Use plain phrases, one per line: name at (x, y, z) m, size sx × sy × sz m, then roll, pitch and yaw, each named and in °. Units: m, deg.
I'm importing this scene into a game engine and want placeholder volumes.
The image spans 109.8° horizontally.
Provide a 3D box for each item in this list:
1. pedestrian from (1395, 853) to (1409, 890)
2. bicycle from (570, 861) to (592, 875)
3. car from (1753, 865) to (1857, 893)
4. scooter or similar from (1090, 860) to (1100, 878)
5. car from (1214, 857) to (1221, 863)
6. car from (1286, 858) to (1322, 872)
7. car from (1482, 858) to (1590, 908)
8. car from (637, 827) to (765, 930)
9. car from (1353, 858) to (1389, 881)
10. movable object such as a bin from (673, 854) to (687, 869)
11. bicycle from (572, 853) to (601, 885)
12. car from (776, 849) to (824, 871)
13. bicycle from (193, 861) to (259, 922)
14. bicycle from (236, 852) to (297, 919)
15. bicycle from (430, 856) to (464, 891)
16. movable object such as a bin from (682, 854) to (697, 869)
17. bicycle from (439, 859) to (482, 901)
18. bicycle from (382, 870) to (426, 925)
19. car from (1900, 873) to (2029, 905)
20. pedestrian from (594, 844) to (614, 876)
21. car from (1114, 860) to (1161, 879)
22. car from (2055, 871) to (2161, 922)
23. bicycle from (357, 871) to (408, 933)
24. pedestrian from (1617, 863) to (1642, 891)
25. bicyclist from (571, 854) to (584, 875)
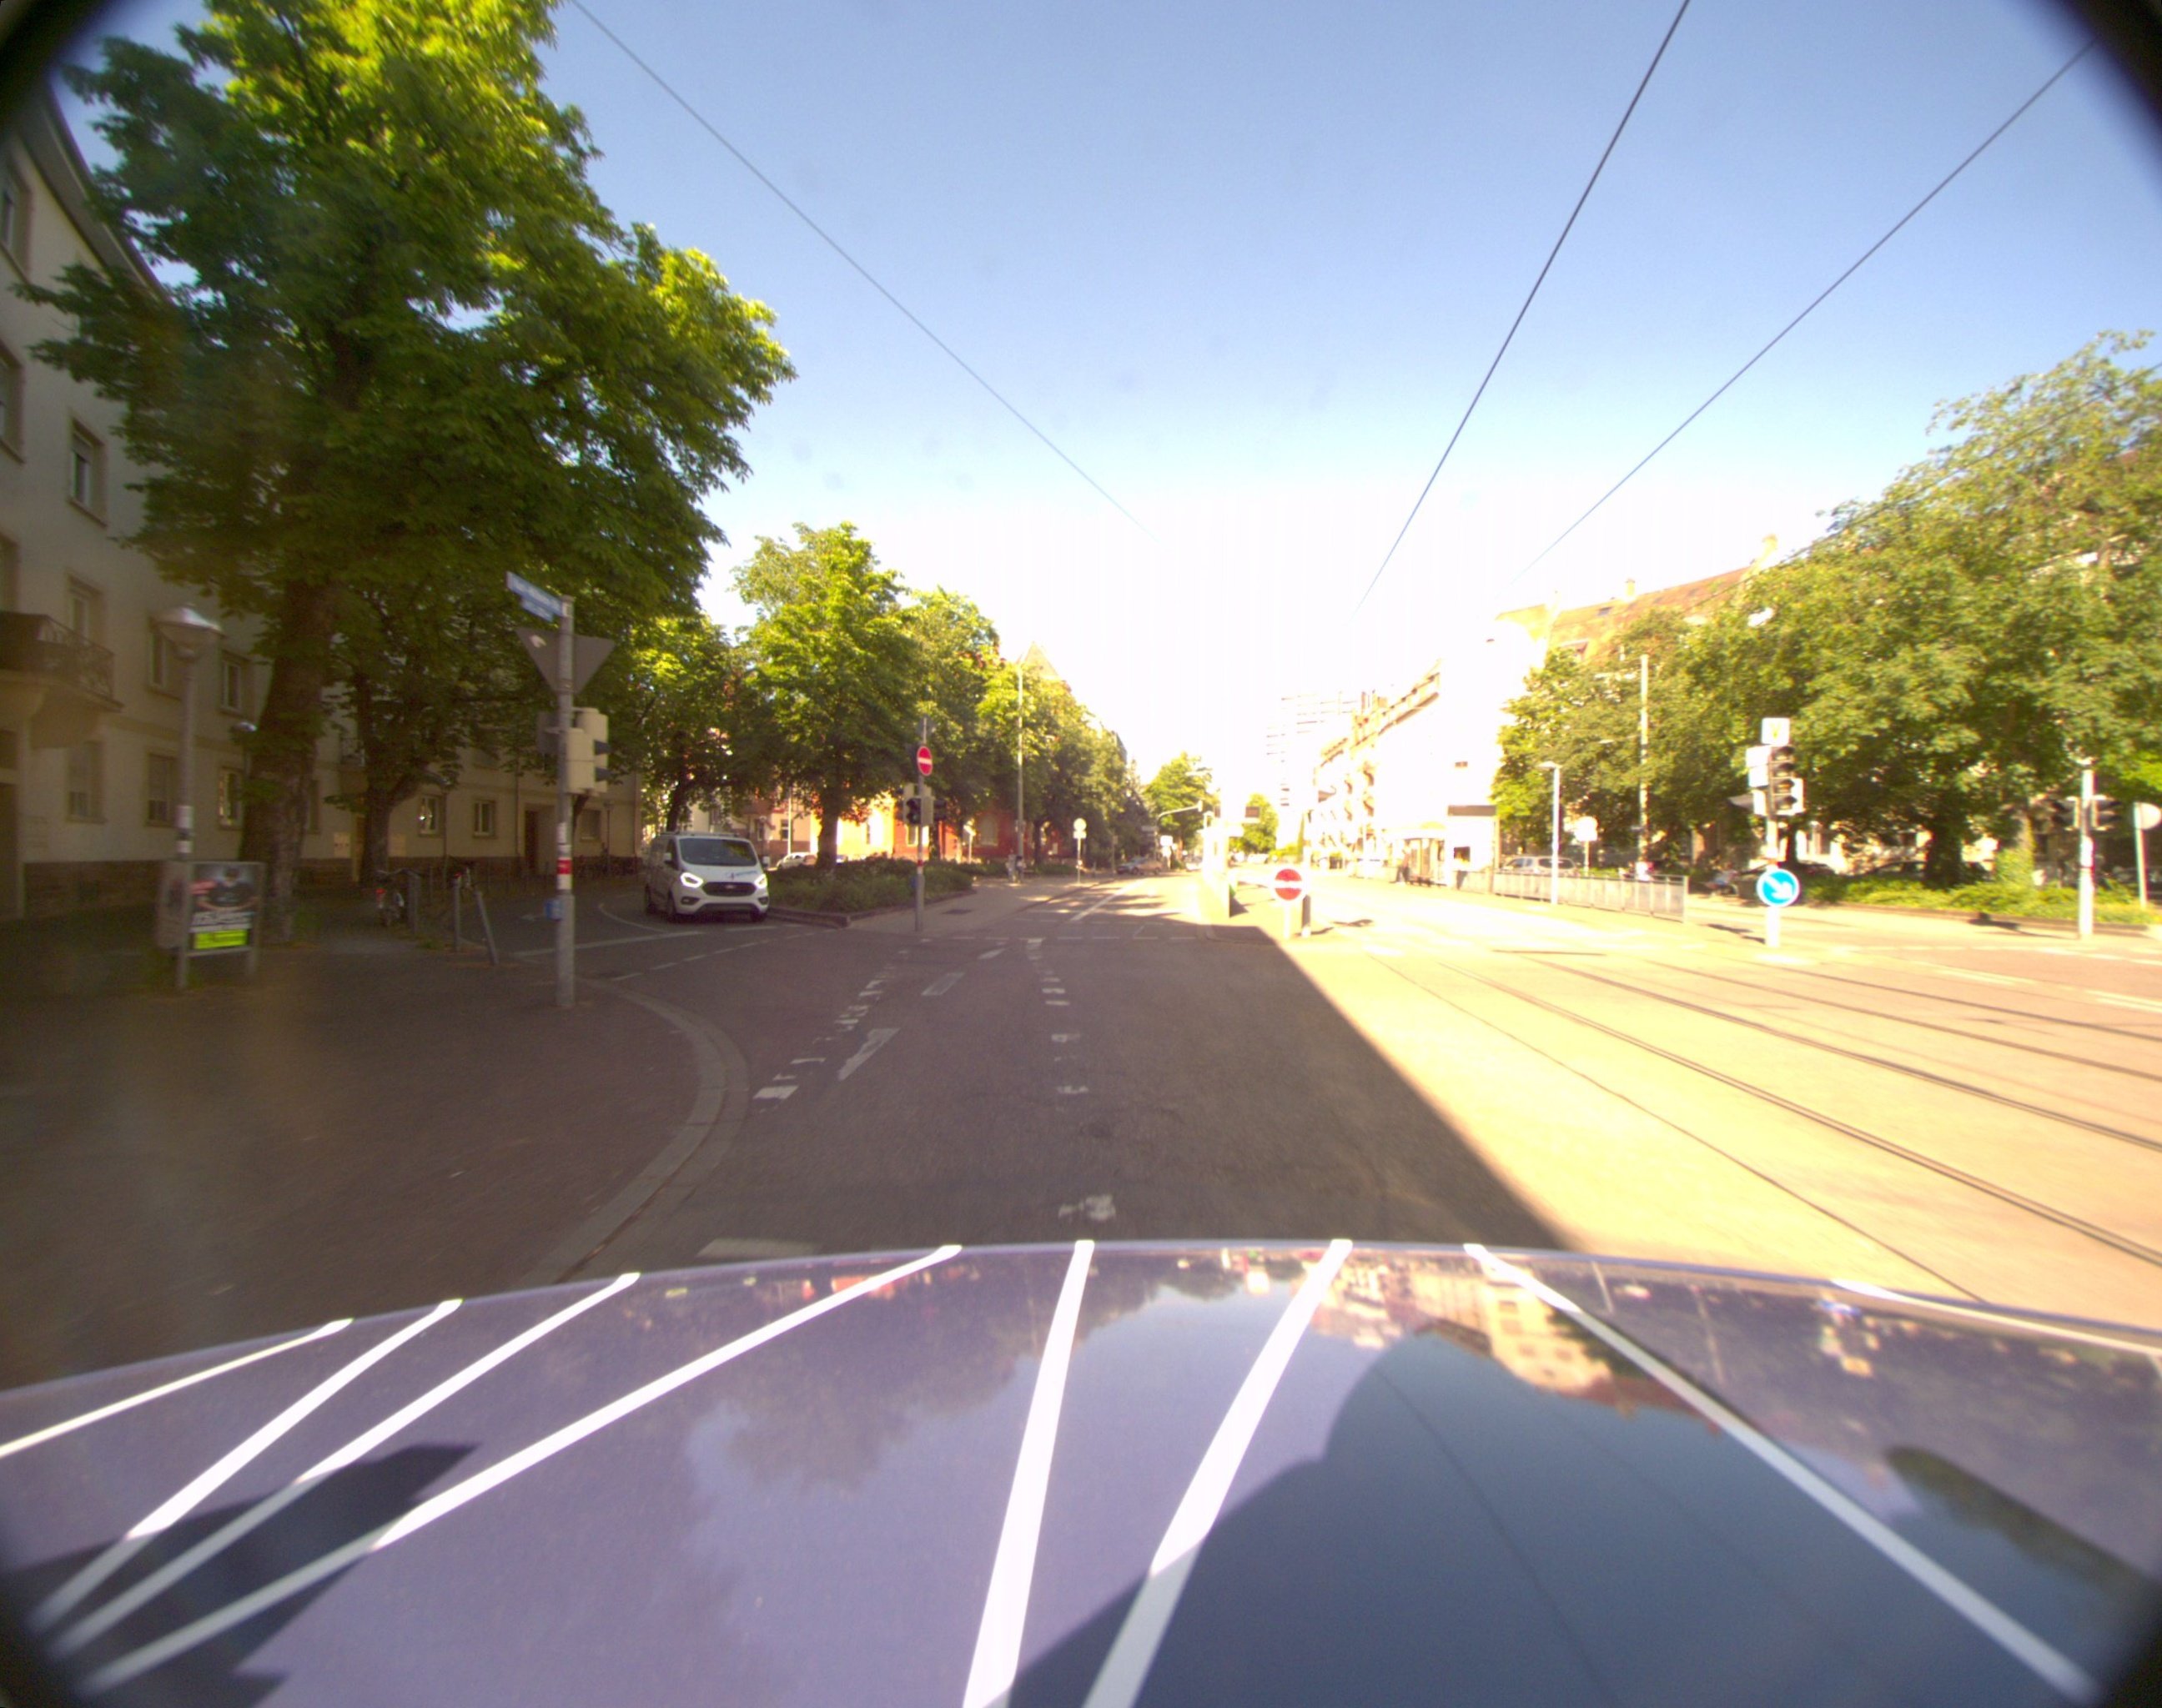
pedestrian at (15.531, 0.827, 36.778) m, size 0.465 × 1.774 × 0.674 m, roll 1°, pitch 1°, yaw 7°
bicycle at (-23.421, 0.662, 35.599) m, size 0.432 × 0.633 × 0.917 m, roll -1°, pitch 0°, yaw -4°
car at (34.568, 1.157, 36.390) m, size 1.527 × 1.208 × 3.455 m, roll -1°, pitch 0°, yaw -6°
scooter or similar at (0.964, 1.055, 53.249) m, size 0.519 × 1.241 × 1.277 m, roll 1°, pitch -2°, yaw 9°
car at (41.665, 1.848, 231.390) m, size 1.997 × 2.002 × 4.003 m, roll -1°, pitch 0°, yaw 9°
car at (27.064, 1.325, 92.445) m, size 3.883 × 1.581 × 1.817 m, roll -1°, pitch 4°, yaw 4°
car at (17.010, 1.031, 28.682) m, size 1.900 × 1.608 × 4.267 m, roll 2°, pitch 1°, yaw 8°
car at (-9.032, 0.514, 17.827) m, size 1.690 × 2.080 × 4.745 m, roll -1°, pitch 0°, yaw -39°
car at (21.037, 1.101, 55.246) m, size 1.693 × 1.531 × 3.802 m, roll 4°, pitch 1°, yaw 11°
movable object such as a bin at (-25.281, 0.479, 47.876) m, size 0.641 × 0.959 × 0.544 m, roll -1°, pitch 1°, yaw 36°
bicycle at (-20.188, 0.608, 31.028) m, size 0.428 × 1.272 × 1.487 m, roll 2°, pitch -1°, yaw -11°
car at (-22.420, 0.453, 60.555) m, size 3.793 × 1.707 × 1.638 m, roll -1°, pitch 0°, yaw 34°
bicycle at (-16.555, 0.699, 14.739) m, size 0.429 × 1.115 × 1.517 m, roll 2°, pitch -1°, yaw -33°
bicycle at (-16.165, 0.605, 15.105) m, size 0.429 × 1.272 × 1.484 m, roll 2°, pitch -1°, yaw -33°
bicycle at (-21.460, 0.652, 25.739) m, size 0.462 × 1.109 × 1.562 m, roll 2°, pitch 0°, yaw -25°
movable object such as a bin at (-24.939, 0.475, 48.399) m, size 0.641 × 0.959 × 0.583 m, roll -1°, pitch 1°, yaw 36°
bicycle at (-17.889, 0.735, 21.939) m, size 0.477 × 1.146 × 1.988 m, roll 4°, pitch -2°, yaw -26°
bicycle at (-14.063, 0.883, 15.805) m, size 0.429 × 1.073 × 1.484 m, roll 2°, pitch -1°, yaw -33°
car at (34.950, 1.350, 30.172) m, size 1.467 × 1.089 × 3.145 m, roll -1°, pitch 0°, yaw 0°
pedestrian at (-24.371, 0.297, 38.839) m, size 0.571 × 1.625 × 0.630 m, roll -1°, pitch 1°, yaw 8°
car at (4.642, 1.243, 61.926) m, size 3.620 × 1.390 × 1.722 m, roll -1°, pitch 0°, yaw -40°
car at (35.617, 1.445, 24.975) m, size 1.741 × 1.533 × 4.011 m, roll 2°, pitch 1°, yaw -14°
bicycle at (-13.012, 0.865, 14.183) m, size 0.429 × 1.073 × 1.484 m, roll 2°, pitch -1°, yaw -33°
pedestrian at (25.262, 1.059, 35.020) m, size 0.658 × 1.274 × 0.724 m, roll -1°, pitch 0°, yaw 8°
bicyclist at (-23.649, 0.487, 35.723) m, size 0.339 × 0.939 × 0.393 m, roll -1°, pitch 1°, yaw -4°
